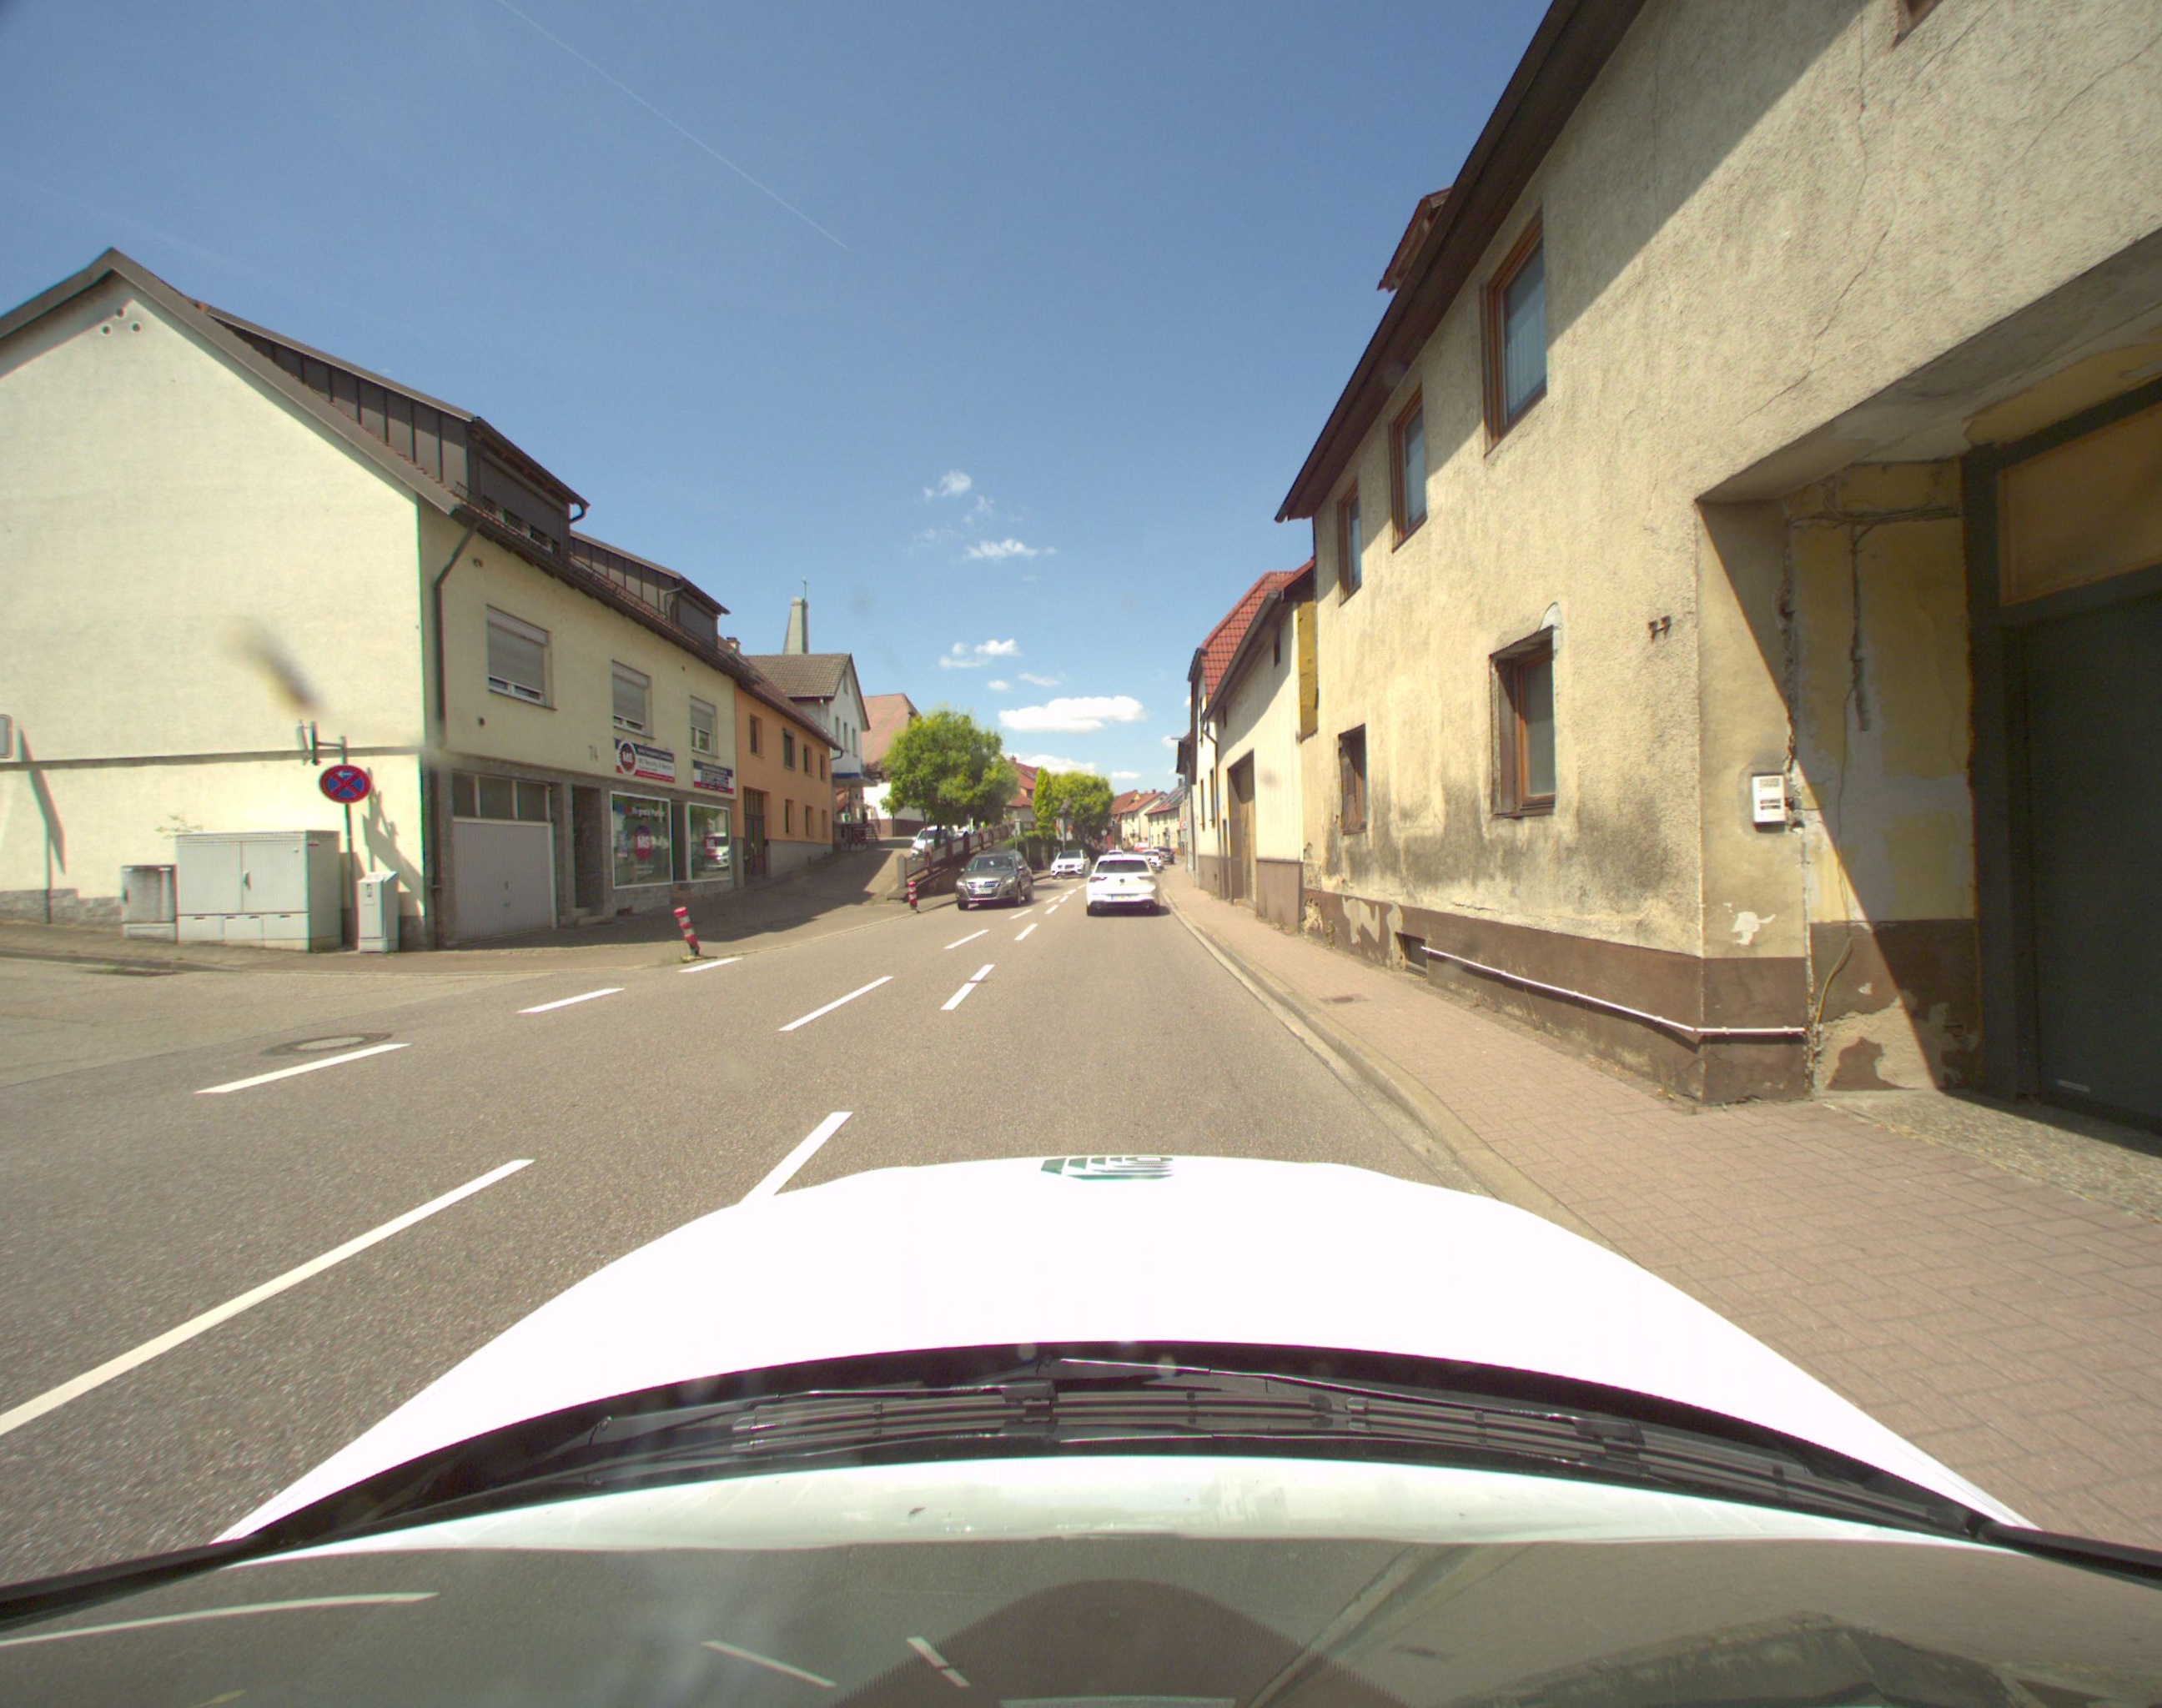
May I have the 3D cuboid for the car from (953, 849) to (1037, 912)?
[{"bbox_3d":[-2.496,0.726,24.601,1.750,1.635,4.054,-3,0,4],"label":"car"}]

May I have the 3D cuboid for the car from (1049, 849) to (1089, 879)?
[{"bbox_3d":[-0.657,0.533,47.899,1.834,1.580,4.451,-3,0,4],"label":"car"}]

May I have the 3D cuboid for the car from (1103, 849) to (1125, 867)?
[{"bbox_3d":[2.975,0.361,73.161,1.805,1.446,4.435,-3,0,4],"label":"car"}]

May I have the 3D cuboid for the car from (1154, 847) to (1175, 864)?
[{"bbox_3d":[7.984,0.104,77.391,1.765,1.538,4.009,-2,1,8],"label":"car"}]

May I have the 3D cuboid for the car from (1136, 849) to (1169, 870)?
[{"bbox_3d":[5.205,0.363,59.107,1.795,1.467,4.015,0,0,13],"label":"car"}]

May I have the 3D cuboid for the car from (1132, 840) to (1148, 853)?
[{"bbox_3d":[8.546,-1.079,118.257,1.773,1.765,3.993,-2,1,-5],"label":"car"}]

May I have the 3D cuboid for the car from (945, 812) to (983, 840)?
[{"bbox_3d":[-7.077,-1.733,49.553,1.571,1.361,3.859,-2,6,1],"label":"car"}]

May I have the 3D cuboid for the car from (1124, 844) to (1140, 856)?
[{"bbox_3d":[6.352,-0.502,100.567,1.608,1.444,3.809,-4,0,7],"label":"car"}]

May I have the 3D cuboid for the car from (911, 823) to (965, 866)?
[{"bbox_3d":[-6.538,-0.486,37.620,1.687,1.542,3.859,-2,6,1],"label":"car"}]

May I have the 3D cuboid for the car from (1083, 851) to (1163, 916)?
[{"bbox_3d":[1.082,0.671,20.645,1.800,1.467,4.004,0,0,3],"label":"car"}]

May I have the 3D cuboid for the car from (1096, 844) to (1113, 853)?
[{"bbox_3d":[3.683,-0.860,129.797,1.795,1.377,4.100,-2,1,-12],"label":"car"}]
